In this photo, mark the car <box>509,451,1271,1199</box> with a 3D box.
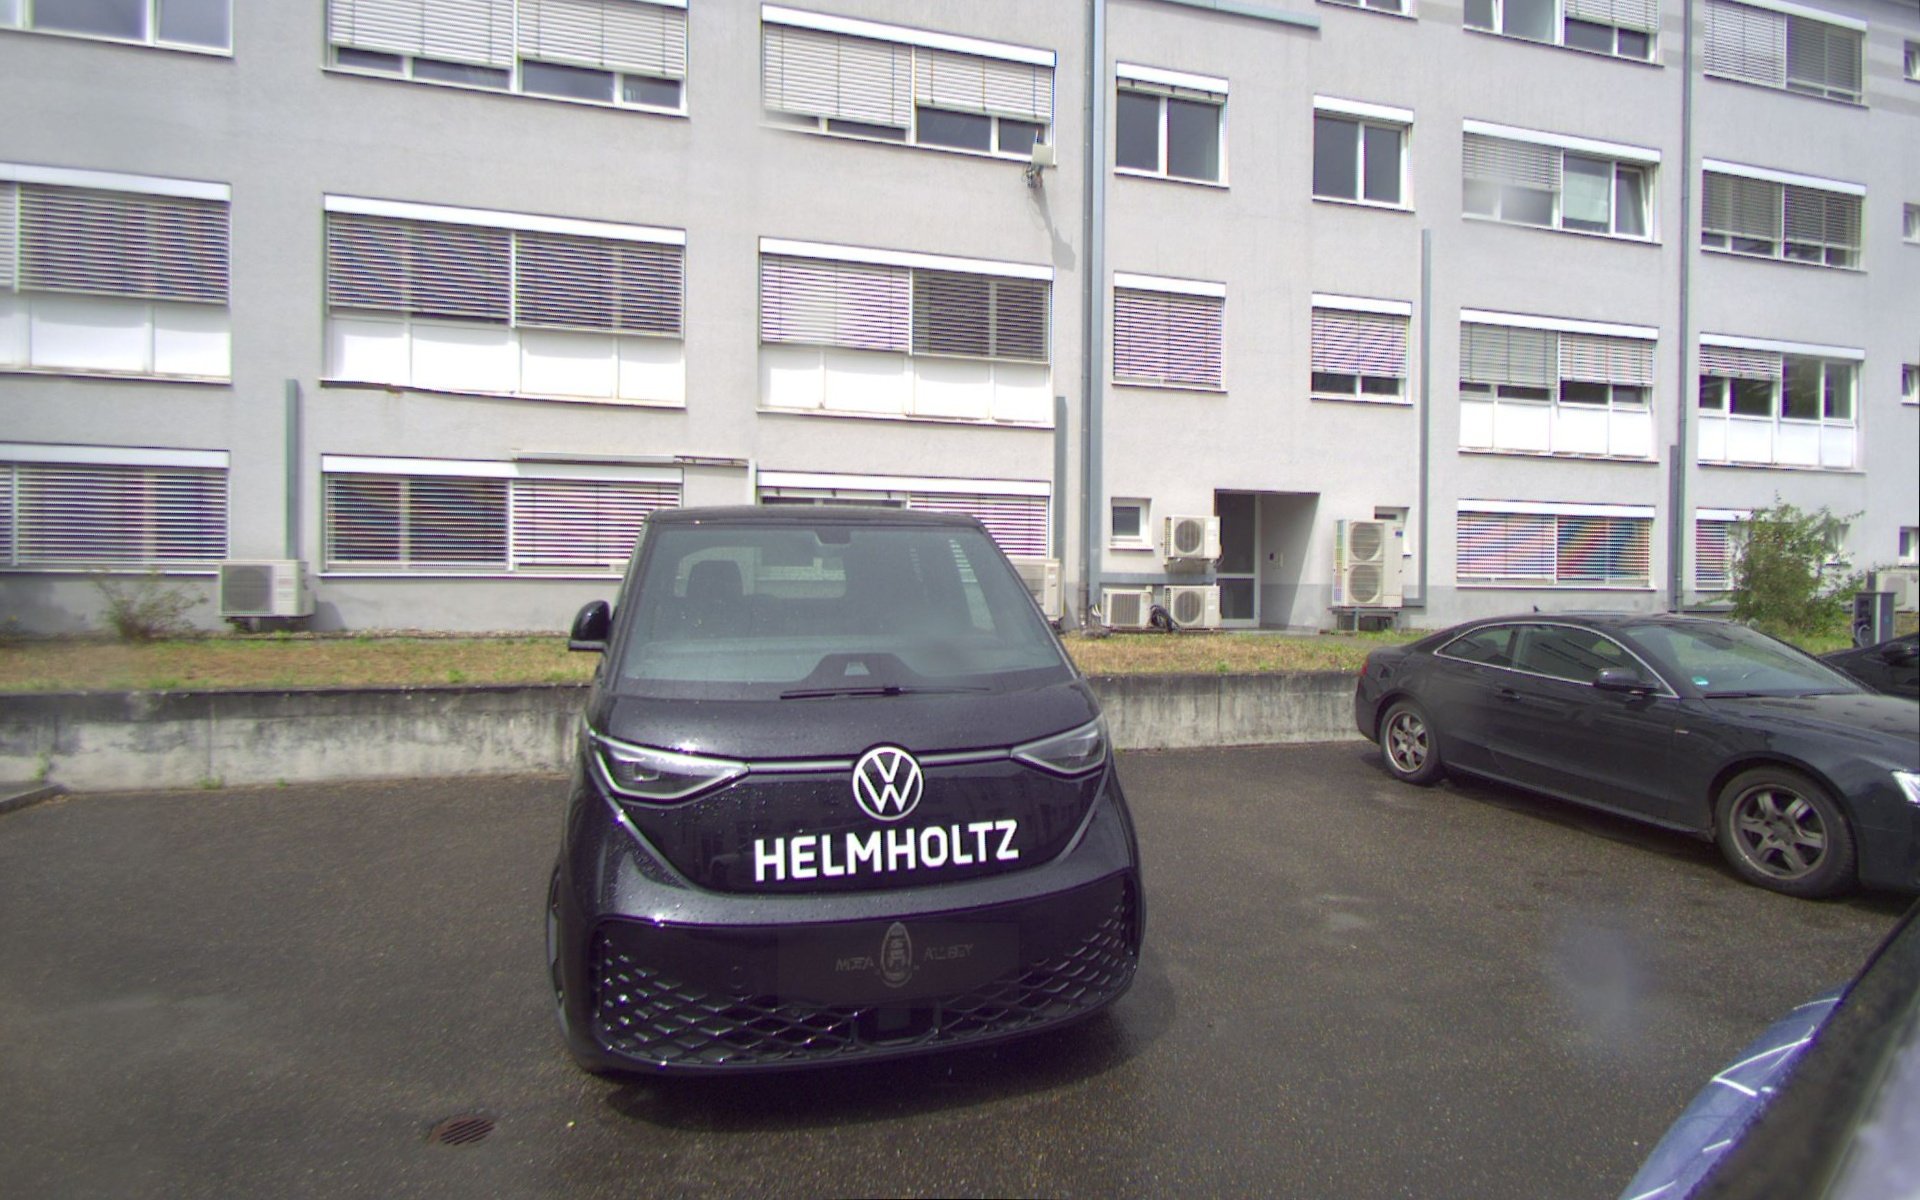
[{"bbox_3d":[-0.740,0.488,4.995,2.066,1.856,4.736,0,2,-16],"label":"car"}]

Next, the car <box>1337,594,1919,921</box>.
[{"bbox_3d":[4.634,0.703,6.565,1.821,1.365,4.378,1,1,-16],"label":"car"}]

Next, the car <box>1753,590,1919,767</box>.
[{"bbox_3d":[9.020,0.684,7.837,1.899,1.418,4.193,0,2,-16],"label":"car"}]
